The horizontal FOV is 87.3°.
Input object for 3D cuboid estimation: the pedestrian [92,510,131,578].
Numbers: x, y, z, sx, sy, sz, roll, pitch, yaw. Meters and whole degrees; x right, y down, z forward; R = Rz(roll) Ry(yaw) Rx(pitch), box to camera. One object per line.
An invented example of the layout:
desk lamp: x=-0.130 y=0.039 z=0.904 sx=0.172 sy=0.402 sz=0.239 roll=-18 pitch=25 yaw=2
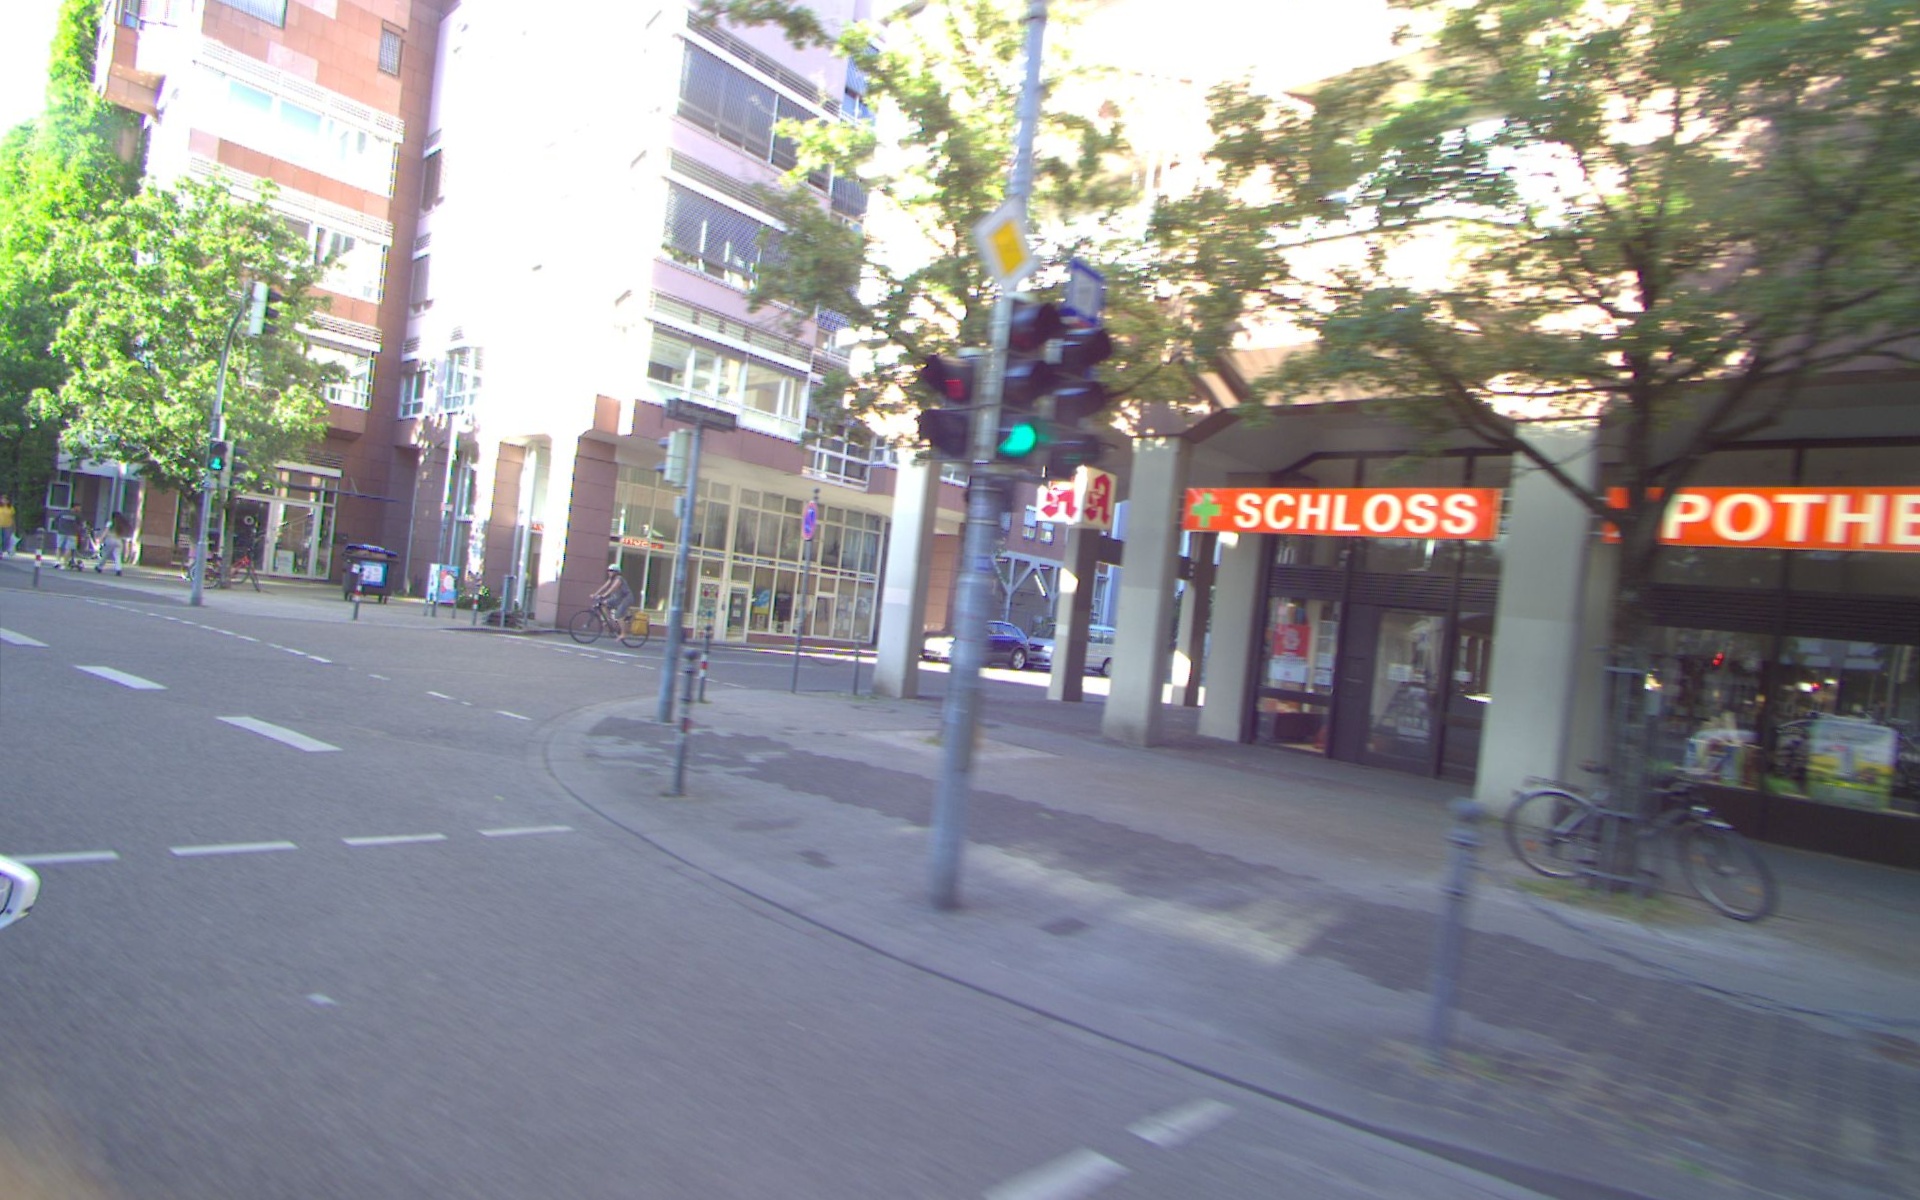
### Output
pedestrian: x=-22.291 y=-1.469 z=26.432 sx=0.668 sy=1.693 sz=0.460 roll=7 pitch=0 yaw=29

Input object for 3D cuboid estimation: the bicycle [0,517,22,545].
bicycle: x=-38.281 y=-2.793 z=40.261 sx=1.884 sy=1.033 sz=0.618 roll=6 pitch=0 yaw=35

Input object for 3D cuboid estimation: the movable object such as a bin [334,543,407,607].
movable object such as a bin: x=-15.823 y=-0.669 z=27.012 sx=0.860 sy=1.500 sz=1.407 roll=6 pitch=-1 yaw=44

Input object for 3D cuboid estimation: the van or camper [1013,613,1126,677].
van or camper: x=4.279 y=1.767 z=38.874 sx=1.778 sy=1.996 sz=4.552 roll=6 pitch=-1 yaw=43

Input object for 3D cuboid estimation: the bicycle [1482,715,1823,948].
bicycle: x=5.068 y=1.622 z=7.471 sx=0.620 sy=1.240 sz=1.902 roll=7 pitch=0 yaw=-45

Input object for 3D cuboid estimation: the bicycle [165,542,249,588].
bicycle: x=-21.360 y=-0.992 z=28.571 sx=1.733 sy=1.066 sz=0.734 roll=7 pitch=0 yaw=-31

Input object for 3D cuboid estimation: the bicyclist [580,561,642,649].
bicyclist: x=-7.558 y=0.107 z=21.783 sx=0.777 sy=1.792 sz=0.824 roll=6 pitch=0 yaw=41

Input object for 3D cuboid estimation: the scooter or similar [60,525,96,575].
scooter or similar: x=-22.871 y=-1.301 z=26.082 sx=1.231 sy=1.172 sz=0.394 roll=6 pitch=0 yaw=38

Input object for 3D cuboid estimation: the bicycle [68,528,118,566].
bicycle: x=-26.209 y=-1.609 z=30.404 sx=1.725 sy=0.951 sz=0.737 roll=6 pitch=0 yaw=37

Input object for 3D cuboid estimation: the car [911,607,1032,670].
car: x=0.459 y=1.359 z=34.572 sx=1.776 sy=1.742 sz=4.180 roll=6 pitch=-1 yaw=41

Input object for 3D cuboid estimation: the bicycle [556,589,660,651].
bicycle: x=-7.595 y=0.445 z=21.784 sx=0.792 sy=1.126 sz=1.913 roll=6 pitch=-1 yaw=40

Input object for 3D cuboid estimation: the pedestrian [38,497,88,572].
pedestrian: x=-22.973 y=-1.674 z=25.760 sx=0.601 sy=1.785 sz=0.784 roll=7 pitch=0 yaw=43

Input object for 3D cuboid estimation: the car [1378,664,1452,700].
car: x=28.184 y=5.098 z=62.429 sx=1.715 sy=1.712 sz=3.685 roll=7 pitch=-1 yaw=-36

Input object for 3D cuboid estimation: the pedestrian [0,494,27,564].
pedestrian: x=-25.144 y=-1.875 z=26.413 sx=0.756 sy=1.755 sz=0.700 roll=7 pitch=0 yaw=36

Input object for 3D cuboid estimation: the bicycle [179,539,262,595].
bicycle: x=-19.271 y=-0.851 z=26.243 sx=0.569 sy=1.242 sz=1.566 roll=7 pitch=-1 yaw=38
